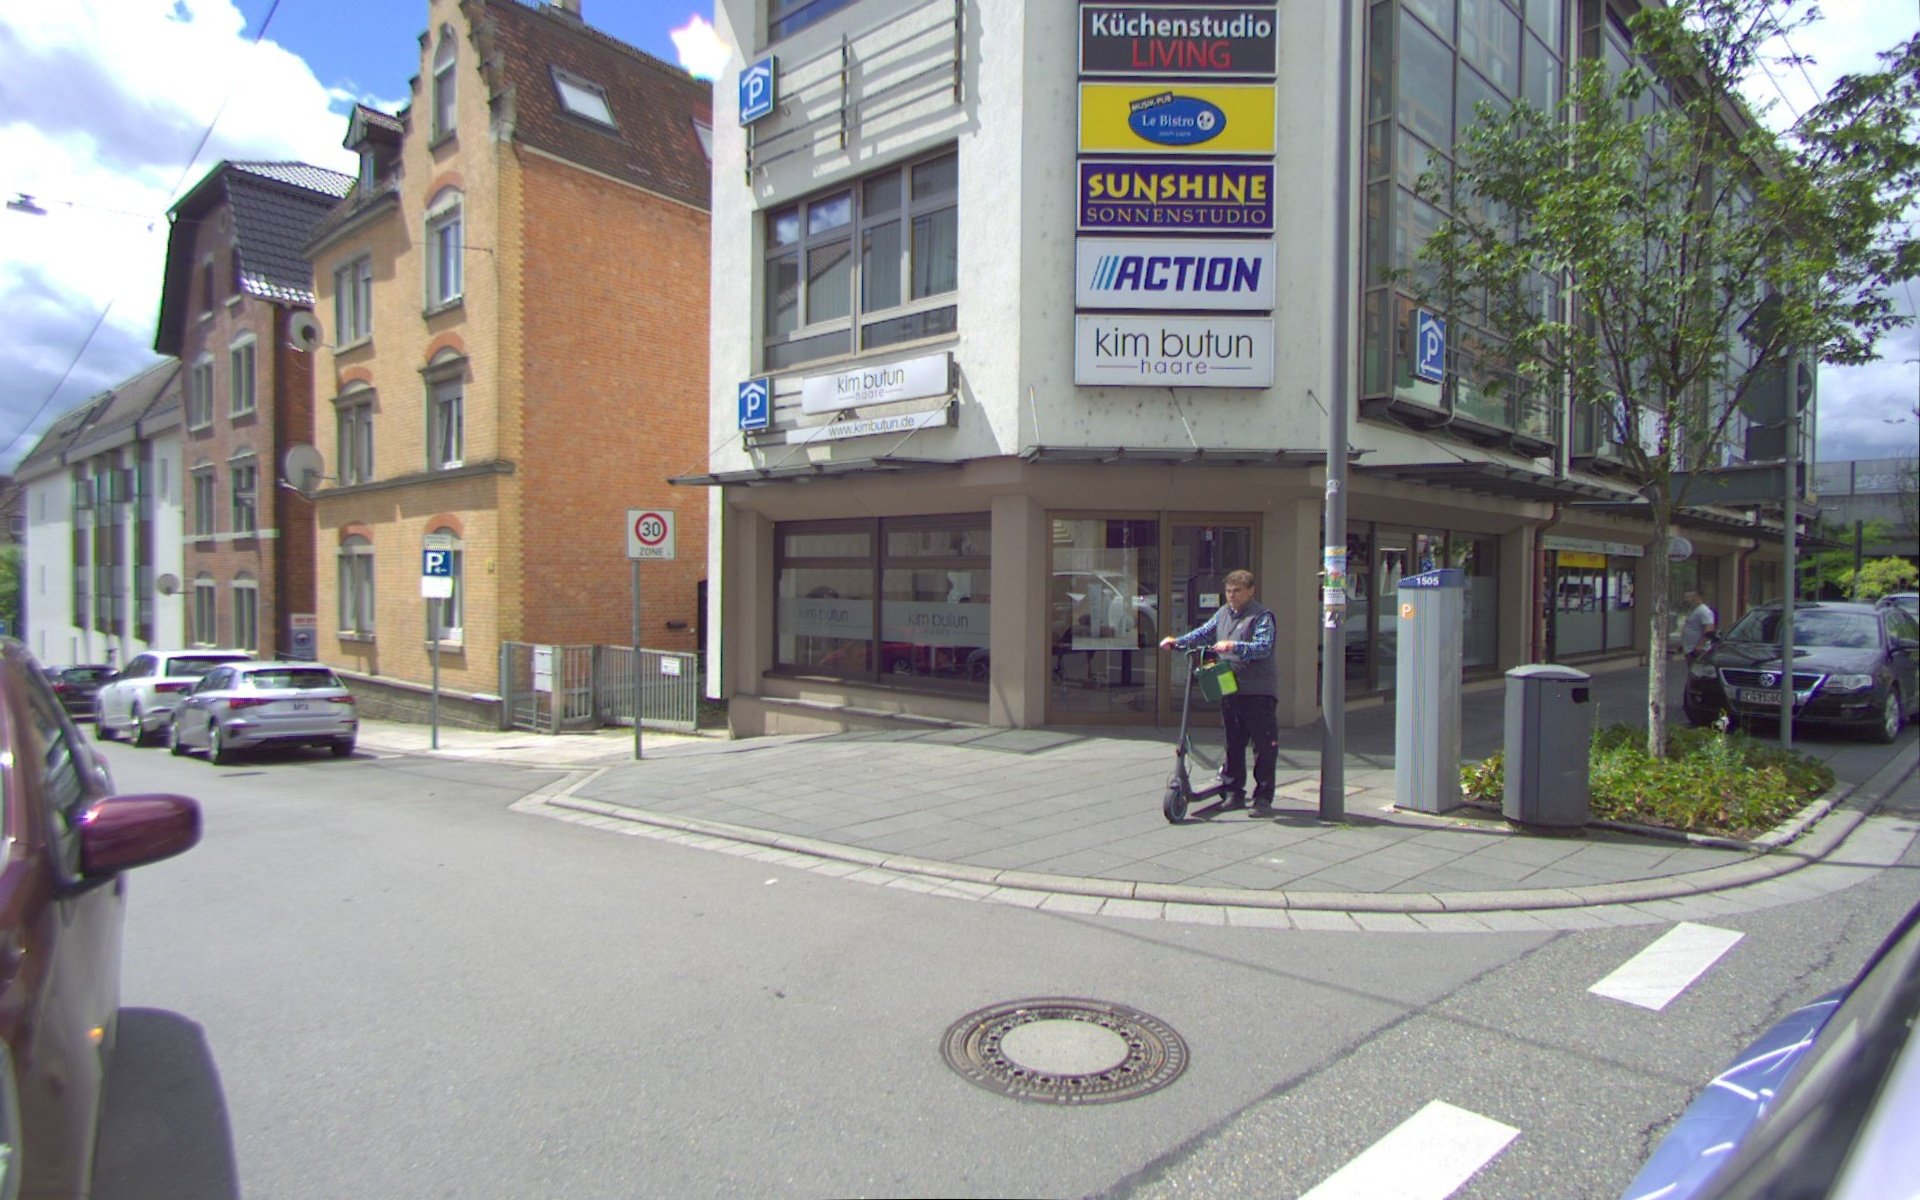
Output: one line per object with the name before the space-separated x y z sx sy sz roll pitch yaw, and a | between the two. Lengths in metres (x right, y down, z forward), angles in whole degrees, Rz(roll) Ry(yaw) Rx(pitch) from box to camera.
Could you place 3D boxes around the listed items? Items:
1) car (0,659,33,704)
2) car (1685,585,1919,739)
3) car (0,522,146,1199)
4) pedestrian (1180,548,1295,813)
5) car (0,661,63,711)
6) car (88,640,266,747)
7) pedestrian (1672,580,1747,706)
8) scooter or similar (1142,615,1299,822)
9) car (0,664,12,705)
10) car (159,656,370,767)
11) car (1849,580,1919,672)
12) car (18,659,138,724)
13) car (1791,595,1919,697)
car | -35.777 3.056 37.321 4.376 1.559 1.822 -6 -6 41
car | 10.136 0.579 11.757 4.471 1.472 1.718 0 0 -40
car | -2.824 0.710 2.197 1.509 1.549 3.756 -1 0 -37
pedestrian | 1.909 0.525 6.973 0.473 1.724 0.571 0 -1 -43
car | -32.006 2.961 34.282 4.376 1.559 1.822 -6 -6 41
car | -14.858 1.779 19.124 4.376 1.778 1.822 -6 -6 41
pedestrian | 9.694 0.538 13.089 0.469 1.582 0.661 0 -1 -40
scooter or similar | 1.841 0.769 7.080 1.228 1.297 0.431 -1 -1 -42
car | -39.367 3.439 40.328 4.376 1.559 1.822 -6 -6 41
car | -10.653 1.605 15.408 3.875 1.417 1.821 -4 -4 42
car | 19.579 0.496 20.239 4.384 1.682 1.826 0 2 -37
car | -23.818 2.486 27.275 4.376 1.559 1.822 -6 -6 41
car | 15.230 0.669 16.546 4.457 1.463 1.855 0 0 -41
